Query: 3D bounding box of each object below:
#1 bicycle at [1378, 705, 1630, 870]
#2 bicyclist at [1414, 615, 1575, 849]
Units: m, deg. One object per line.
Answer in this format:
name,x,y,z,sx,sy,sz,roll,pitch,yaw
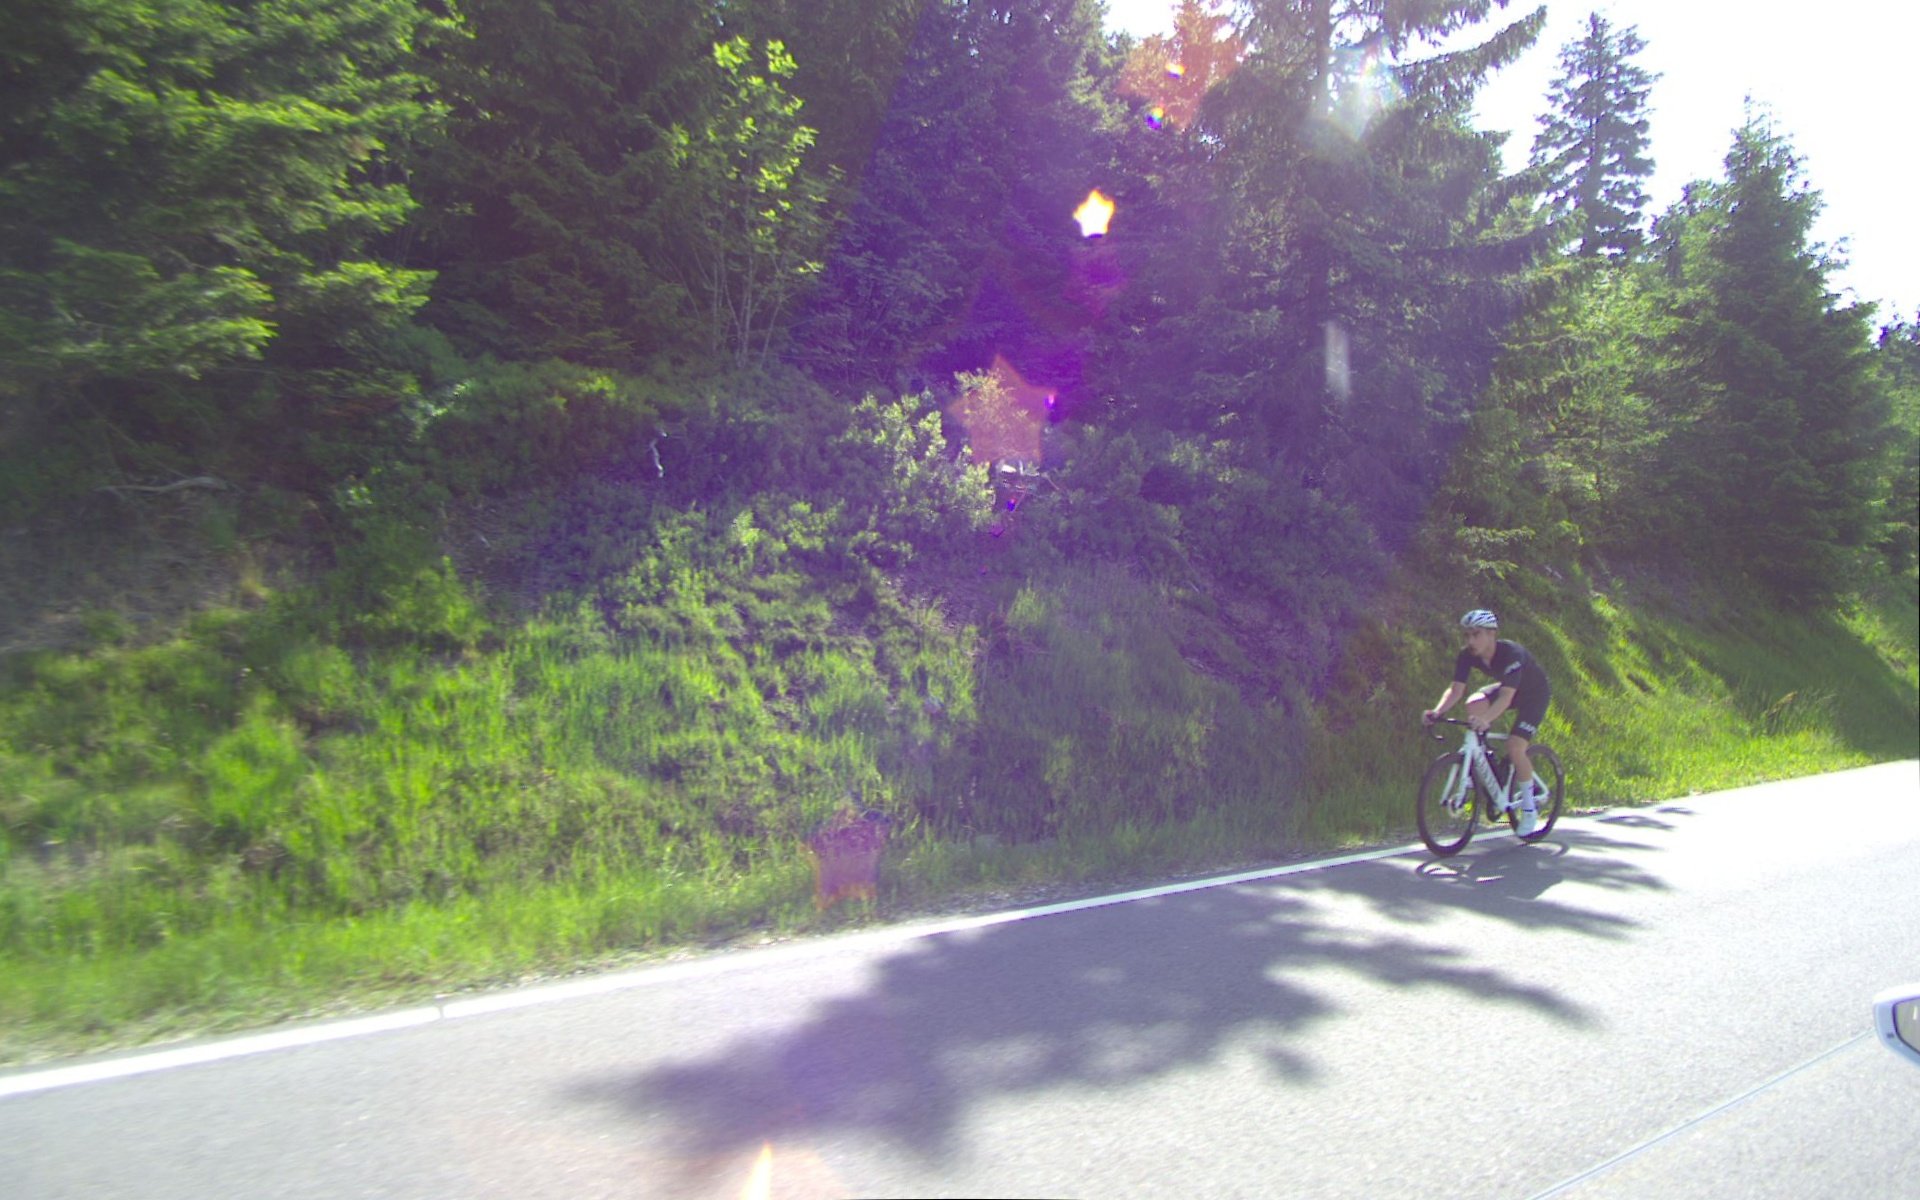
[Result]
bicycle,3.761,1.221,6.880,2.038,0.898,0.550,1,-1,-30
bicyclist,3.620,0.840,6.797,0.972,1.470,0.539,1,-1,-30
